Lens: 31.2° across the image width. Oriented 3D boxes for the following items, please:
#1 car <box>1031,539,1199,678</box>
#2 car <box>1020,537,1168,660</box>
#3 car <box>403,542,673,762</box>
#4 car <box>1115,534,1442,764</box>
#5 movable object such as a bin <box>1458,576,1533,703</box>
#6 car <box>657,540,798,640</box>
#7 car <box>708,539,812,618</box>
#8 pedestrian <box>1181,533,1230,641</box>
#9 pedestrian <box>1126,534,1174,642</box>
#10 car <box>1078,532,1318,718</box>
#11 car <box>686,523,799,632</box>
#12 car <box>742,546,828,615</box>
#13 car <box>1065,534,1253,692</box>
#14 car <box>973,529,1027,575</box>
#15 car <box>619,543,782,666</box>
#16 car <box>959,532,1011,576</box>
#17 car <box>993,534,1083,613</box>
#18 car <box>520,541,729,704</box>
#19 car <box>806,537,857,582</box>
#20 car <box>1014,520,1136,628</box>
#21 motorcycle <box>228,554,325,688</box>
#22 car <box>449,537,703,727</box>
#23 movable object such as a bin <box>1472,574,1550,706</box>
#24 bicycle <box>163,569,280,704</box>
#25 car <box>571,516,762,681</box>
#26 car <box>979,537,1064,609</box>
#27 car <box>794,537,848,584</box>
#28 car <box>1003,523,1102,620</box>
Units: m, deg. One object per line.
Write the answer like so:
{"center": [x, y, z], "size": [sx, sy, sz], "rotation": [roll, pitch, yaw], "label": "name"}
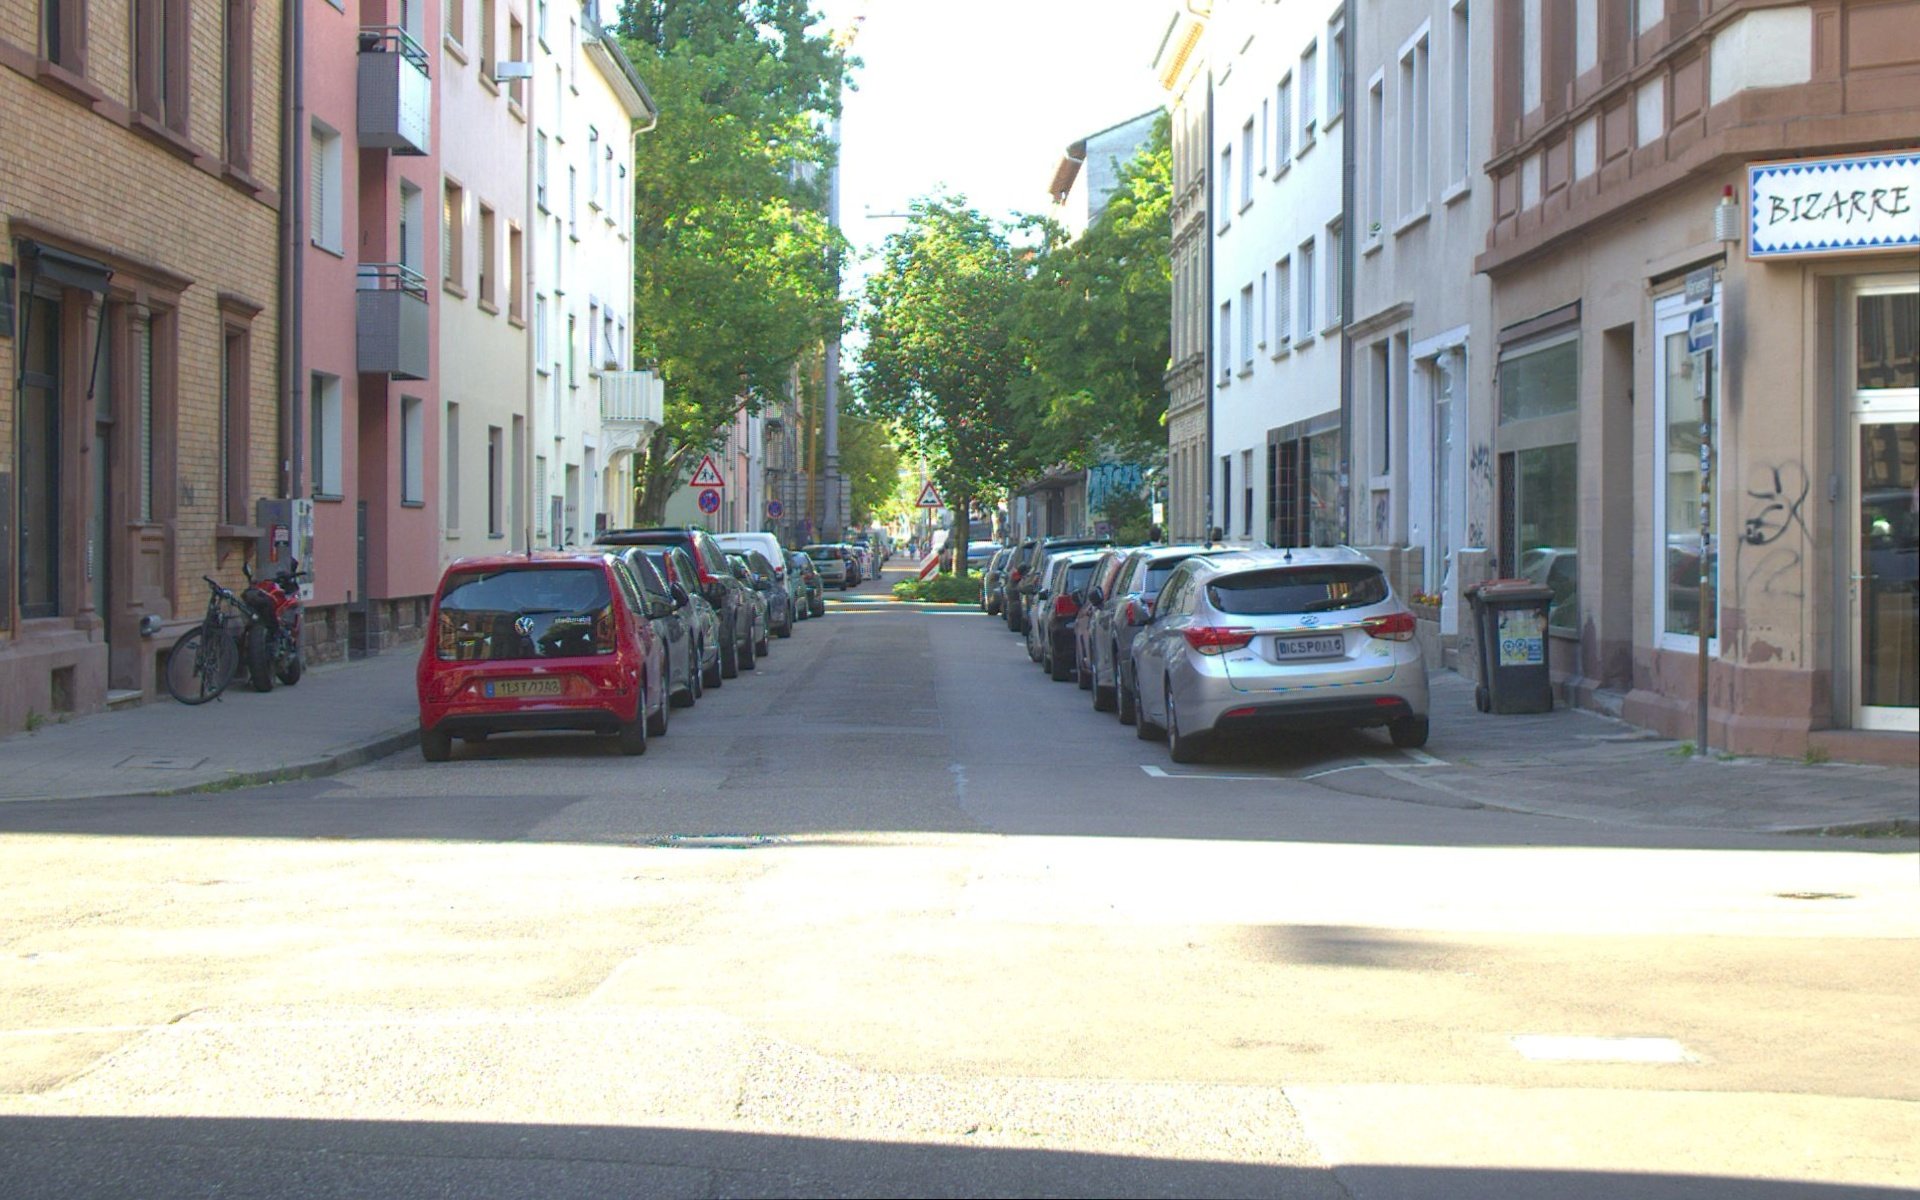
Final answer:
{"center": [1.780, 0.058, 40.579], "size": [1.675, 1.501, 3.938], "rotation": [-2, 1, -1], "label": "car"}
{"center": [1.728, -0.058, 45.529], "size": [1.675, 1.501, 3.938], "rotation": [-2, 1, -1], "label": "car"}
{"center": [-3.117, 0.336, 25.980], "size": [1.628, 1.476, 3.601], "rotation": [-2, 1, -1], "label": "car"}
{"center": [2.264, 0.290, 25.524], "size": [1.743, 1.501, 4.358], "rotation": [-2, 1, -3], "label": "car"}
{"center": [4.478, 0.326, 28.765], "size": [0.514, 1.036, 0.594], "rotation": [-2, 1, 0], "label": "movable object such as a bin"}
{"center": [-3.724, -0.192, 55.654], "size": [1.674, 1.481, 3.991], "rotation": [-2, 1, 5], "label": "car"}
{"center": [-3.980, -0.451, 69.061], "size": [1.670, 1.464, 3.820], "rotation": [-2, 1, 2], "label": "car"}
{"center": [3.783, -0.206, 52.978], "size": [0.685, 1.654, 0.717], "rotation": [-1, 1, -1], "label": "pedestrian"}
{"center": [2.945, -0.193, 53.281], "size": [0.685, 1.654, 0.717], "rotation": [-1, 1, -1], "label": "pedestrian"}
{"center": [2.074, 0.171, 30.926], "size": [1.744, 1.501, 4.021], "rotation": [-2, 1, -1], "label": "car"}
{"center": [-3.779, -0.425, 60.182], "size": [1.765, 1.779, 4.039], "rotation": [-2, 1, -1], "label": "car"}
{"center": [-3.726, -0.430, 73.626], "size": [1.670, 1.356, 4.049], "rotation": [-2, 1, -1], "label": "car"}
{"center": [2.028, 0.088, 36.019], "size": [1.598, 1.501, 4.185], "rotation": [-2, 1, -1], "label": "car"}
{"center": [1.333, -1.629, 115.839], "size": [1.675, 1.482, 3.638], "rotation": [-2, 1, -1], "label": "car"}
{"center": [-3.442, 0.017, 46.233], "size": [1.743, 1.501, 4.346], "rotation": [-2, 1, 1], "label": "car"}
{"center": [0.883, -1.653, 122.161], "size": [1.675, 1.482, 3.638], "rotation": [-2, 1, -1], "label": "car"}
{"center": [1.608, -0.573, 71.847], "size": [1.675, 1.556, 3.796], "rotation": [-2, 1, -1], "label": "car"}
{"center": [-3.406, 0.186, 35.528], "size": [1.656, 1.516, 3.944], "rotation": [-2, 1, 1], "label": "car"}
{"center": [-4.450, -1.413, 119.512], "size": [1.675, 1.482, 4.095], "rotation": [-2, 1, -1], "label": "car"}
{"center": [1.876, -0.449, 57.219], "size": [1.676, 1.621, 4.251], "rotation": [-4, 1, -1], "label": "car"}
{"center": [-6.370, 0.176, 32.093], "size": [0.533, 1.201, 1.909], "rotation": [0, 1, 0], "label": "motorcycle"}
{"center": [-3.352, 0.232, 30.705], "size": [1.695, 1.516, 4.096], "rotation": [-2, 1, 1], "label": "car"}
{"center": [4.484, 0.321, 27.994], "size": [0.514, 1.036, 0.619], "rotation": [-2, 1, 0], "label": "movable object such as a bin"}
{"center": [-6.361, 0.298, 29.675], "size": [0.533, 1.070, 1.891], "rotation": [4, 1, 0], "label": "bicycle"}
{"center": [-3.433, -0.070, 41.021], "size": [1.743, 1.805, 4.672], "rotation": [-2, 1, 1], "label": "car"}
{"center": [1.344, -0.623, 76.750], "size": [1.675, 1.482, 4.095], "rotation": [-2, 1, -1], "label": "car"}
{"center": [-4.590, -1.332, 114.260], "size": [1.675, 1.482, 4.095], "rotation": [-2, 1, -1], "label": "car"}
{"center": [1.653, -0.517, 62.770], "size": [1.676, 1.676, 4.094], "rotation": [-2, 0, 0], "label": "car"}
